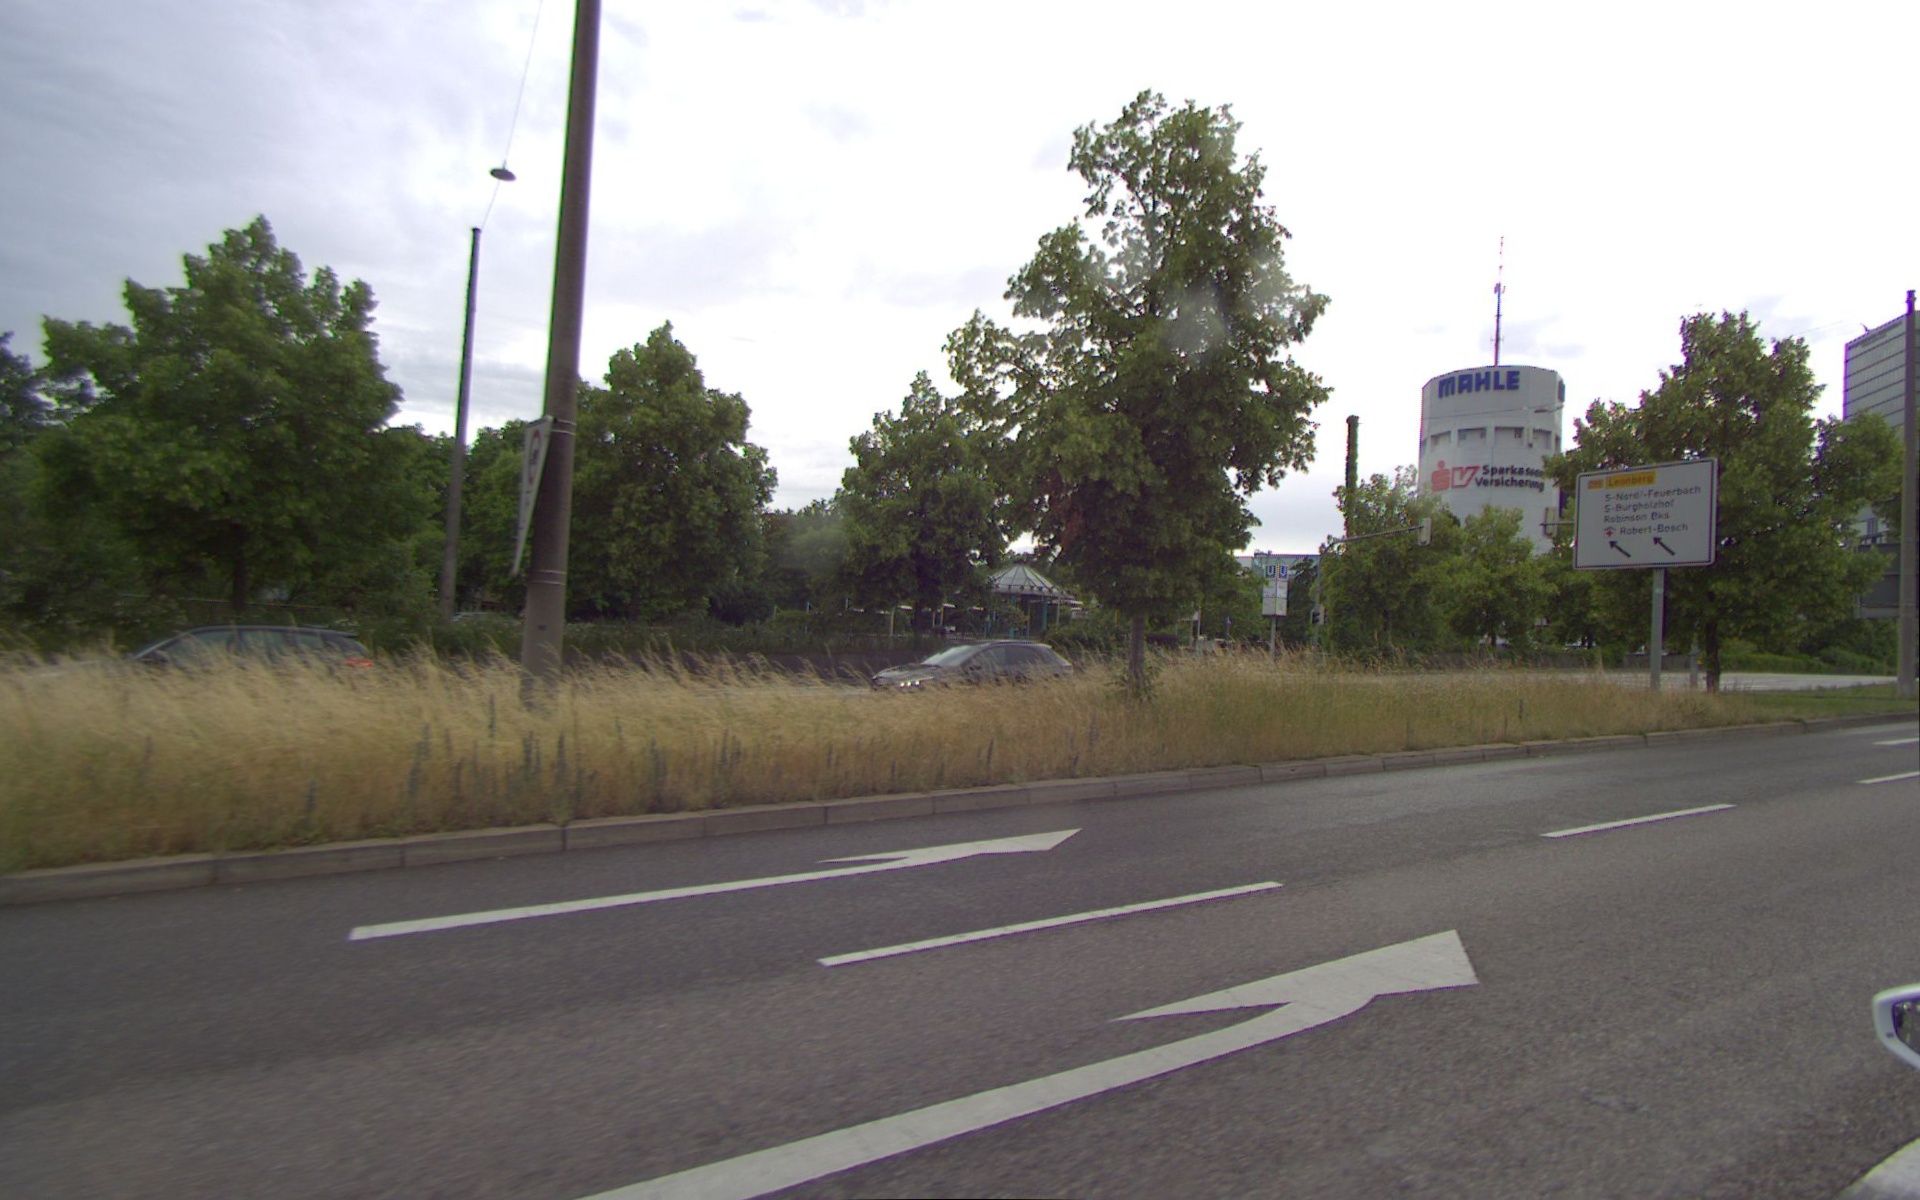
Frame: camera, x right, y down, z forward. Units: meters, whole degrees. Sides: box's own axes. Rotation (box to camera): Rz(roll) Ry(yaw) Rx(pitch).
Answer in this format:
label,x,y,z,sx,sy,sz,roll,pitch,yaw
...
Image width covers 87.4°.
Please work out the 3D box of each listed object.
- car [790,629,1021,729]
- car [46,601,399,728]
label,x,y,z,sx,sy,sz,roll,pitch,yaw
car,-1.018,1.450,19.360,3.977,1.661,1.981,2,0,-34
car,-10.653,0.883,14.870,3.958,1.641,1.850,2,-1,-34
